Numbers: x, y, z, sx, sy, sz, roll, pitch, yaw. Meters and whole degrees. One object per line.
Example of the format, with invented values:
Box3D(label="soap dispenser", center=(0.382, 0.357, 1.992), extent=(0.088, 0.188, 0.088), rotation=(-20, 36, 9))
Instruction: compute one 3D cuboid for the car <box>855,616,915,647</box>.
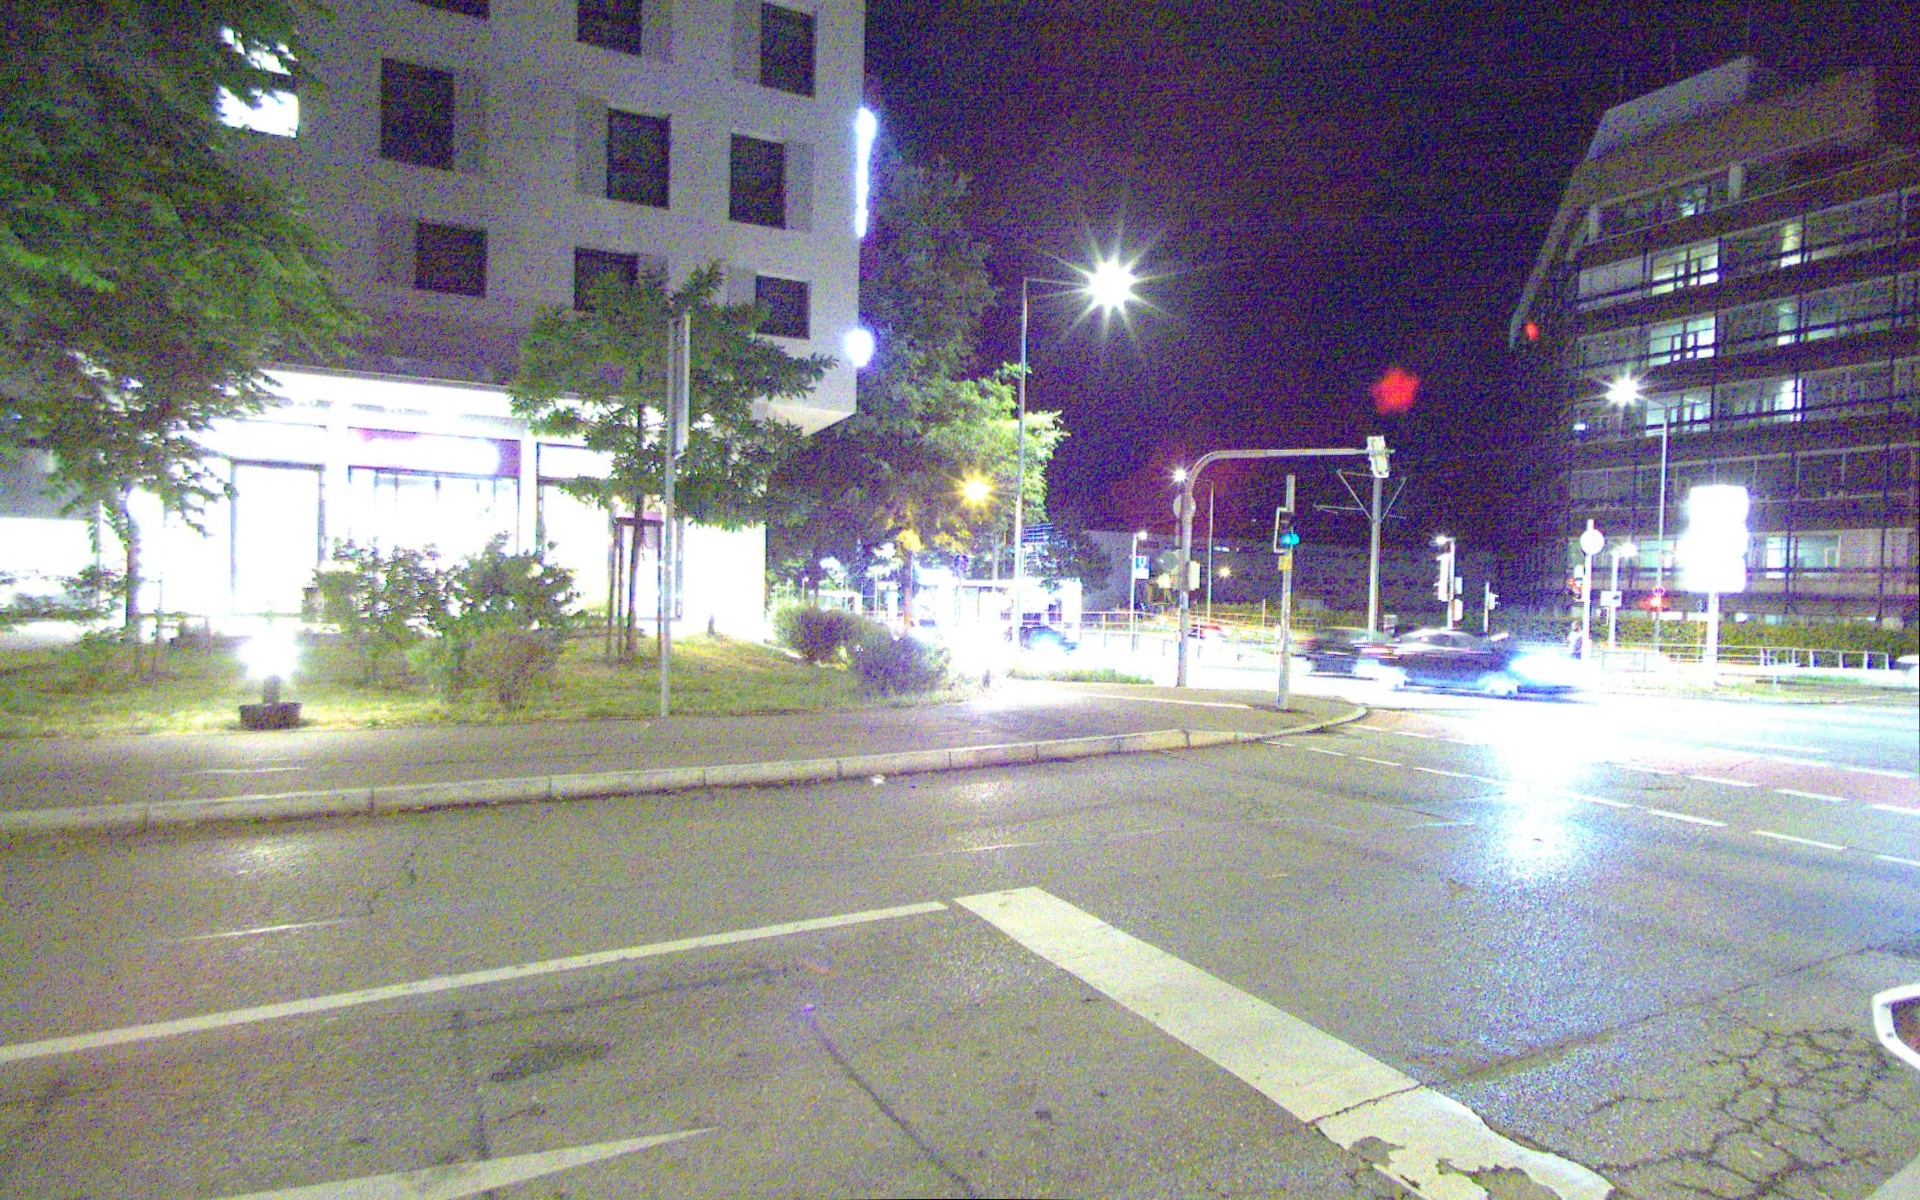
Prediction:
Box3D(label="car", center=(-3.831, 1.554, 50.631), extent=(1.722, 1.456, 3.889), rotation=(1, -1, -26))

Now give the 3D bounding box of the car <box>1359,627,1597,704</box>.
Box3D(label="car", center=(11.286, 1.361, 22.265), extent=(1.722, 1.439, 4.557), rotation=(-2, -1, -26))

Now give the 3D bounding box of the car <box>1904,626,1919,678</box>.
Box3D(label="car", center=(31.353, 1.683, 30.020), extent=(1.779, 1.606, 4.221), rotation=(3, -1, -25))

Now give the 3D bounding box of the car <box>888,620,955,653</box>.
Box3D(label="car", center=(-2.080, 1.893, 53.077), extent=(1.722, 1.620, 4.905), rotation=(0, -1, -26))

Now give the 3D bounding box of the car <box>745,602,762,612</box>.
Box3D(label="car", center=(-33.470, 1.142, 162.932), extent=(1.845, 1.506, 3.822), rotation=(3, 0, -26))

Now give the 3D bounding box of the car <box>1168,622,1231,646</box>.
Box3D(label="car", center=(15.412, 2.170, 64.734), extent=(1.818, 1.443, 4.047), rotation=(-1, 0, -26))

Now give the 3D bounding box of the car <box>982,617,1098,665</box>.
Box3D(label="car", center=(2.620, 1.332, 34.343), extent=(1.722, 1.493, 4.905), rotation=(1, -1, -26))

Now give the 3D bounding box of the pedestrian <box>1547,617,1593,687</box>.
Box3D(label="pedestrian", center=(15.677, 1.319, 25.833), extent=(0.693, 1.745, 0.679), rotation=(2, 0, -4))

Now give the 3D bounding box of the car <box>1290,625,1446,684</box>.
Box3D(label="car", center=(11.590, 1.508, 28.826), extent=(1.719, 1.439, 4.241), rotation=(-1, 0, -22))

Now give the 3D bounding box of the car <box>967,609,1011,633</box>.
Box3D(label="car", center=(2.475, 1.785, 87.759), extent=(1.819, 1.869, 4.763), rotation=(3, 0, -26))
